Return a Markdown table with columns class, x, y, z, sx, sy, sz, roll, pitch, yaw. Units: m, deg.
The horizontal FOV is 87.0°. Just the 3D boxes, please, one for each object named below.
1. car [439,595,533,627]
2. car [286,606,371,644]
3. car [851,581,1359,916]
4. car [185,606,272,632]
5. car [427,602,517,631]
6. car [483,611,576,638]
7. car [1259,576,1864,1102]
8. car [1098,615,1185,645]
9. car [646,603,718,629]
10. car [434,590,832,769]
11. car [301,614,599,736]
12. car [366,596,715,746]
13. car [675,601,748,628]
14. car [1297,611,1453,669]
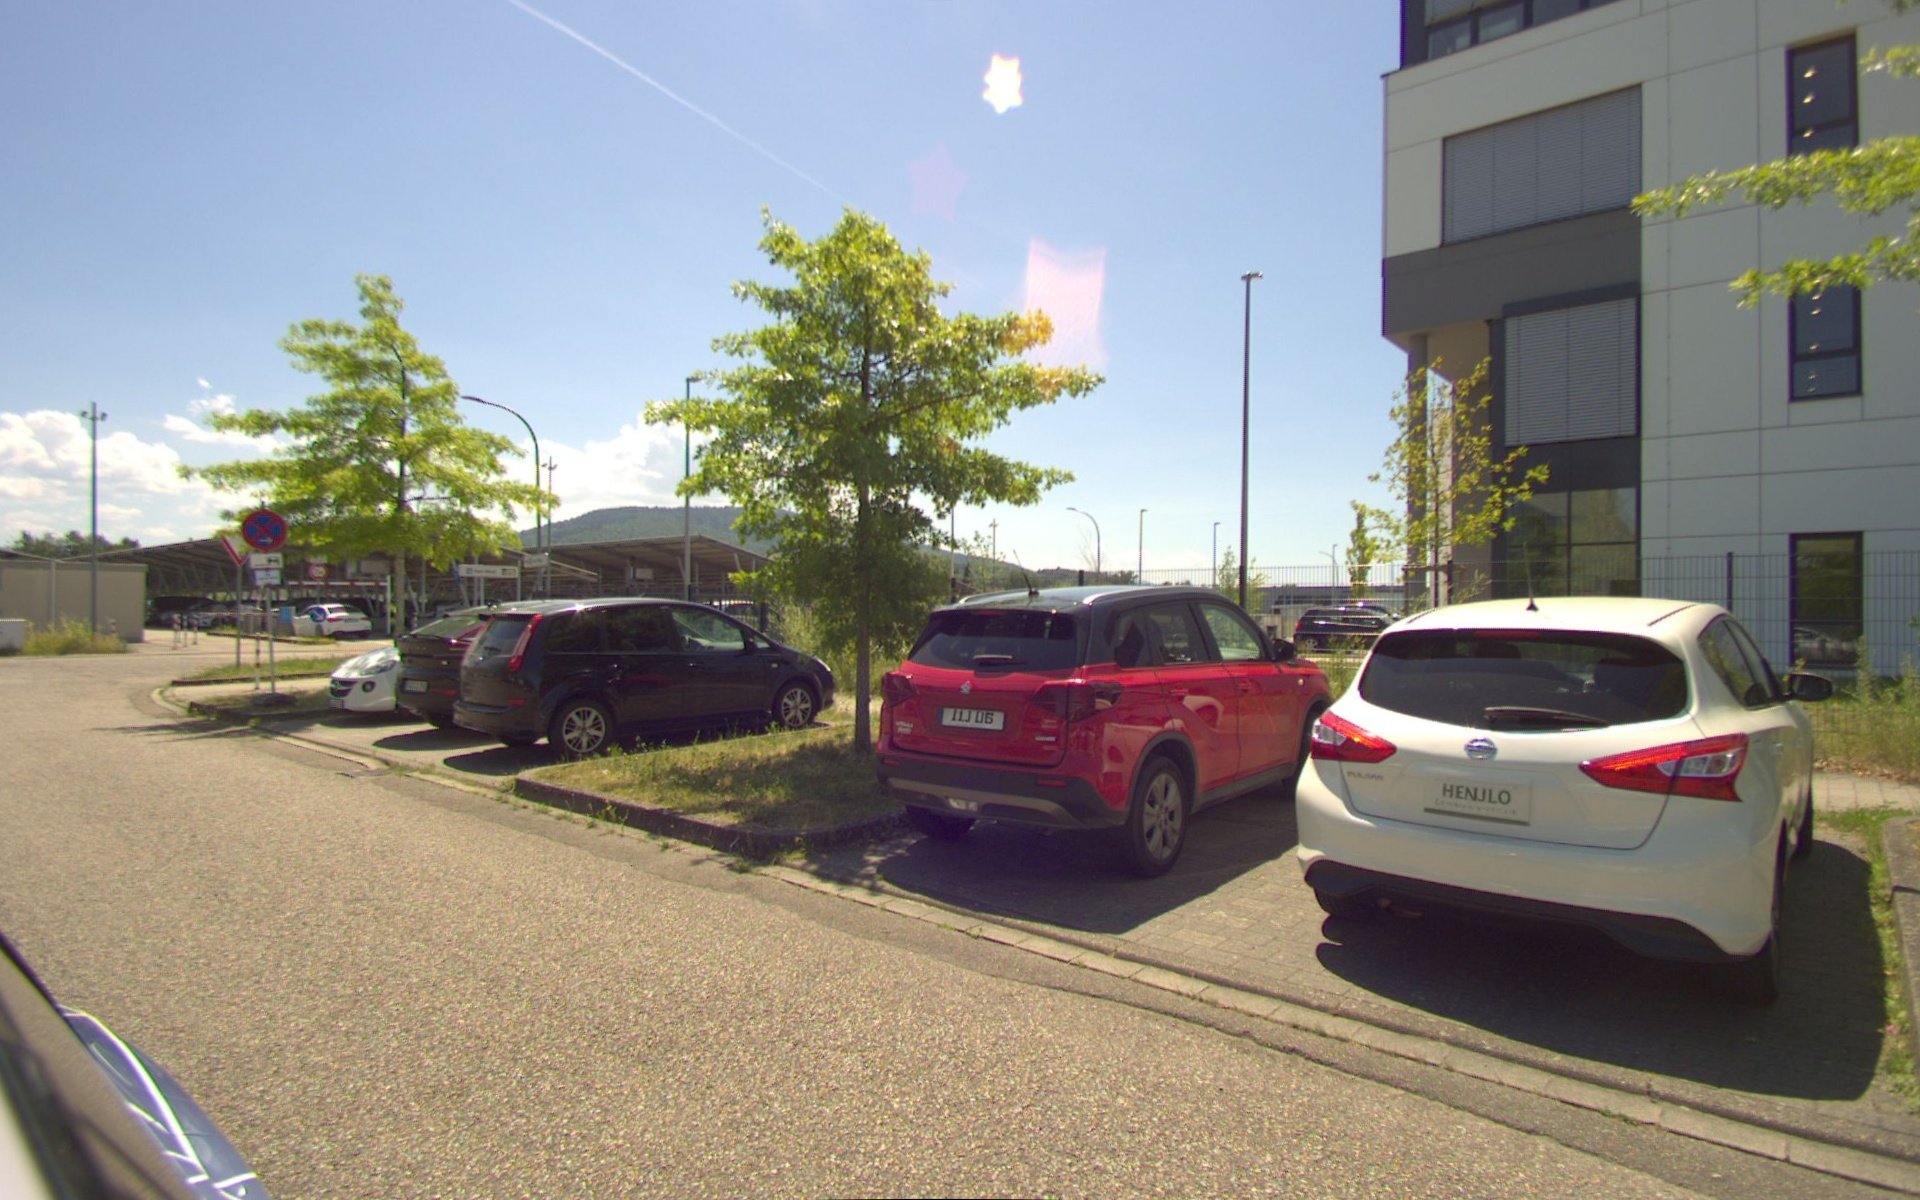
| class | x | y | z | sx | sy | sz | roll | pitch | yaw |
| --- | --- | --- | --- | --- | --- | --- | --- | --- | --- |
| car | -22.682 | 0.542 | 48.552 | 1.721 | 1.447 | 3.728 | -1 | -2 | 37 |
| car | -25.658 | 1.005 | 41.068 | 3.770 | 1.447 | 1.702 | -1 | -2 | 37 |
| car | 1.224 | 0.697 | 6.901 | 1.725 | 1.604 | 3.801 | -1 | 0 | 39 |
| car | -42.242 | 1.078 | 58.497 | 1.721 | 1.447 | 3.728 | -1 | -2 | 37 |
| car | -24.567 | 0.839 | 51.059 | 1.721 | 1.447 | 3.728 | -1 | -2 | 37 |
| car | -20.434 | 1.147 | 48.134 | 1.721 | 1.237 | 3.728 | -1 | -1 | 37 |
| car | 3.317 | 0.693 | 5.125 | 1.807 | 1.524 | 4.127 | -2 | 0 | 42 |
| car | 9.797 | 1.591 | 54.737 | 4.401 | 1.526 | 1.676 | -1 | -1 | 41 |
| car | -15.957 | 0.932 | 58.136 | 1.721 | 1.447 | 3.728 | -1 | -2 | 37 |
| car | -3.500 | 0.732 | 11.290 | 1.728 | 1.604 | 3.862 | -1 | 0 | 45 |
| car | -7.307 | 0.981 | 14.708 | 1.726 | 1.452 | 3.469 | -1 | 0 | 40 |
| car | -5.314 | 0.789 | 13.204 | 1.827 | 1.605 | 3.802 | -1 | 0 | 38 |
| car | -13.858 | 0.828 | 56.613 | 1.721 | 1.447 | 3.728 | -1 | -2 | 37 |
| car | 12.423 | 1.156 | 30.423 | 3.997 | 1.614 | 1.758 | -1 | -2 | 40 |
